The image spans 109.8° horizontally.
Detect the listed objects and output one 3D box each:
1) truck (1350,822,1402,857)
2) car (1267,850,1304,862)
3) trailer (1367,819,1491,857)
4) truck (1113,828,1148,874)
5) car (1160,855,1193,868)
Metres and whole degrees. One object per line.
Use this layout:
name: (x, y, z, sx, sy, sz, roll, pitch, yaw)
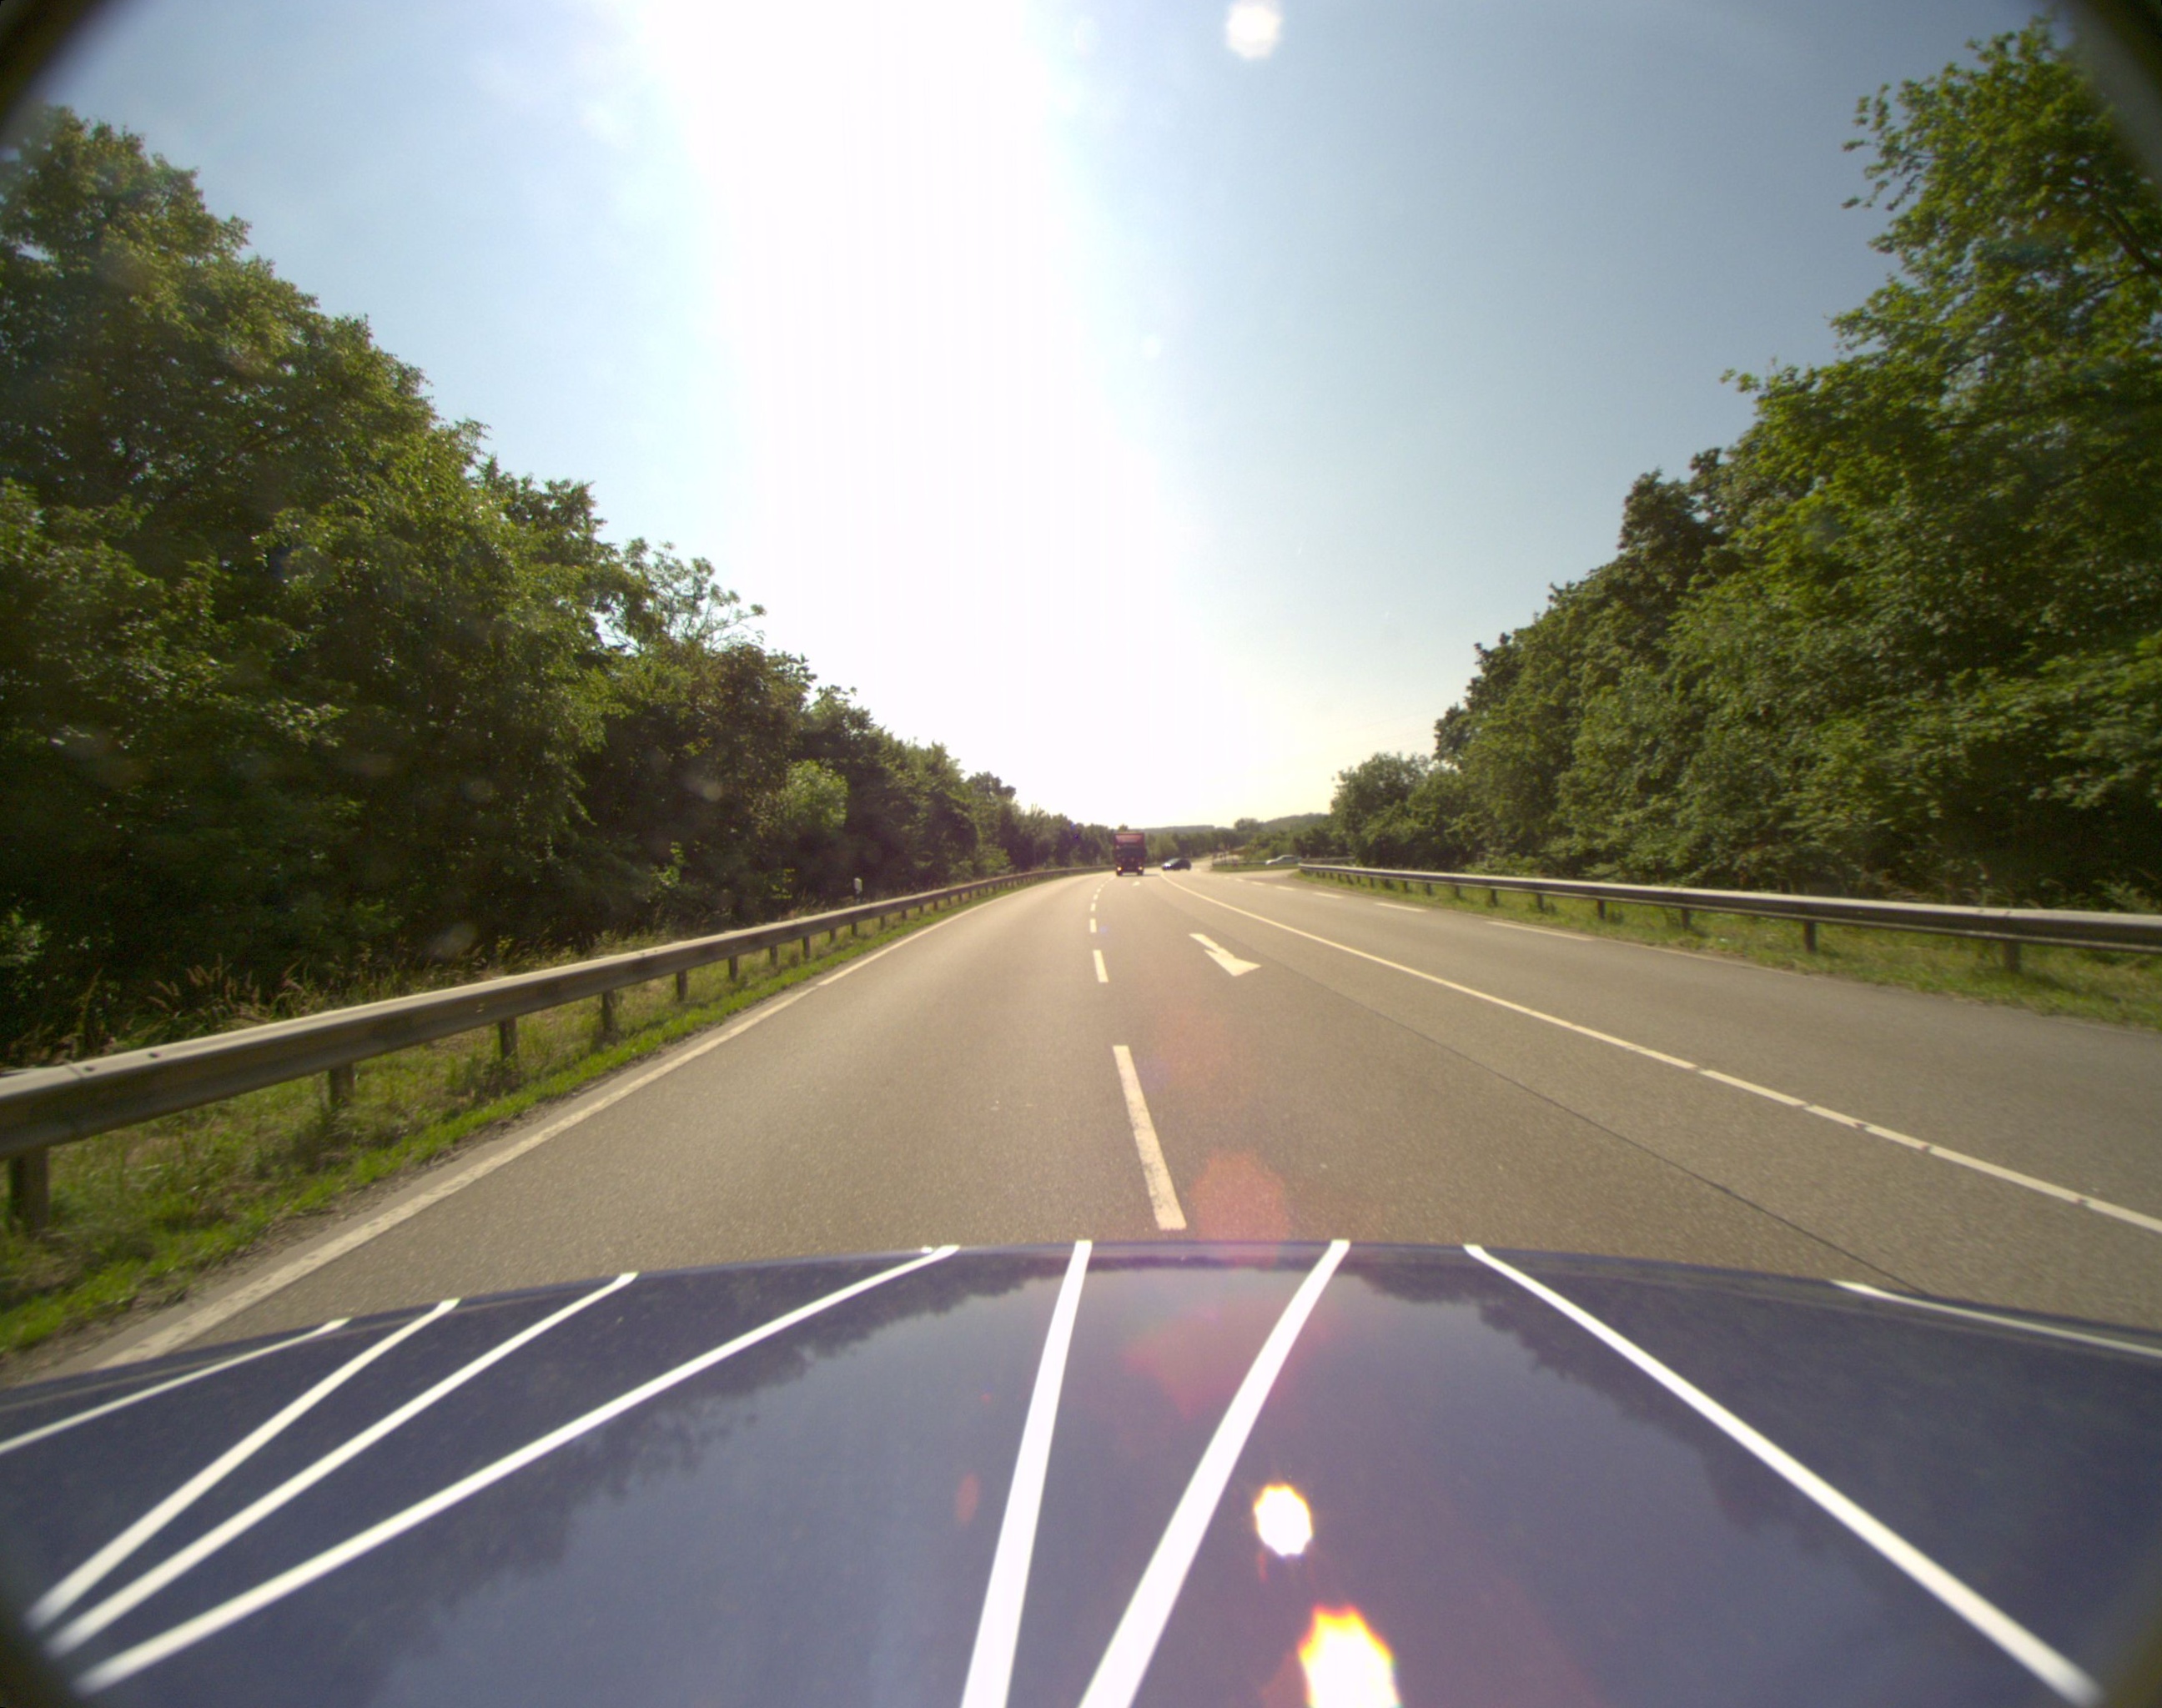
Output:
truck: (37.703, -1.819, 97.255, 5.724, 4.214, 2.942, -2, 2, 9)
car: (25.940, 0.304, 96.538, 4.372, 1.377, 1.790, -2, 0, 9)
trailer: (43.947, -2.043, 96.266, 13.960, 4.216, 2.932, -2, 2, 9)
truck: (4.401, -0.219, 67.095, 2.688, 3.640, 9.265, -2, 0, 4)
car: (11.471, 0.938, 91.215, 4.008, 1.406, 1.784, -2, 0, -44)
